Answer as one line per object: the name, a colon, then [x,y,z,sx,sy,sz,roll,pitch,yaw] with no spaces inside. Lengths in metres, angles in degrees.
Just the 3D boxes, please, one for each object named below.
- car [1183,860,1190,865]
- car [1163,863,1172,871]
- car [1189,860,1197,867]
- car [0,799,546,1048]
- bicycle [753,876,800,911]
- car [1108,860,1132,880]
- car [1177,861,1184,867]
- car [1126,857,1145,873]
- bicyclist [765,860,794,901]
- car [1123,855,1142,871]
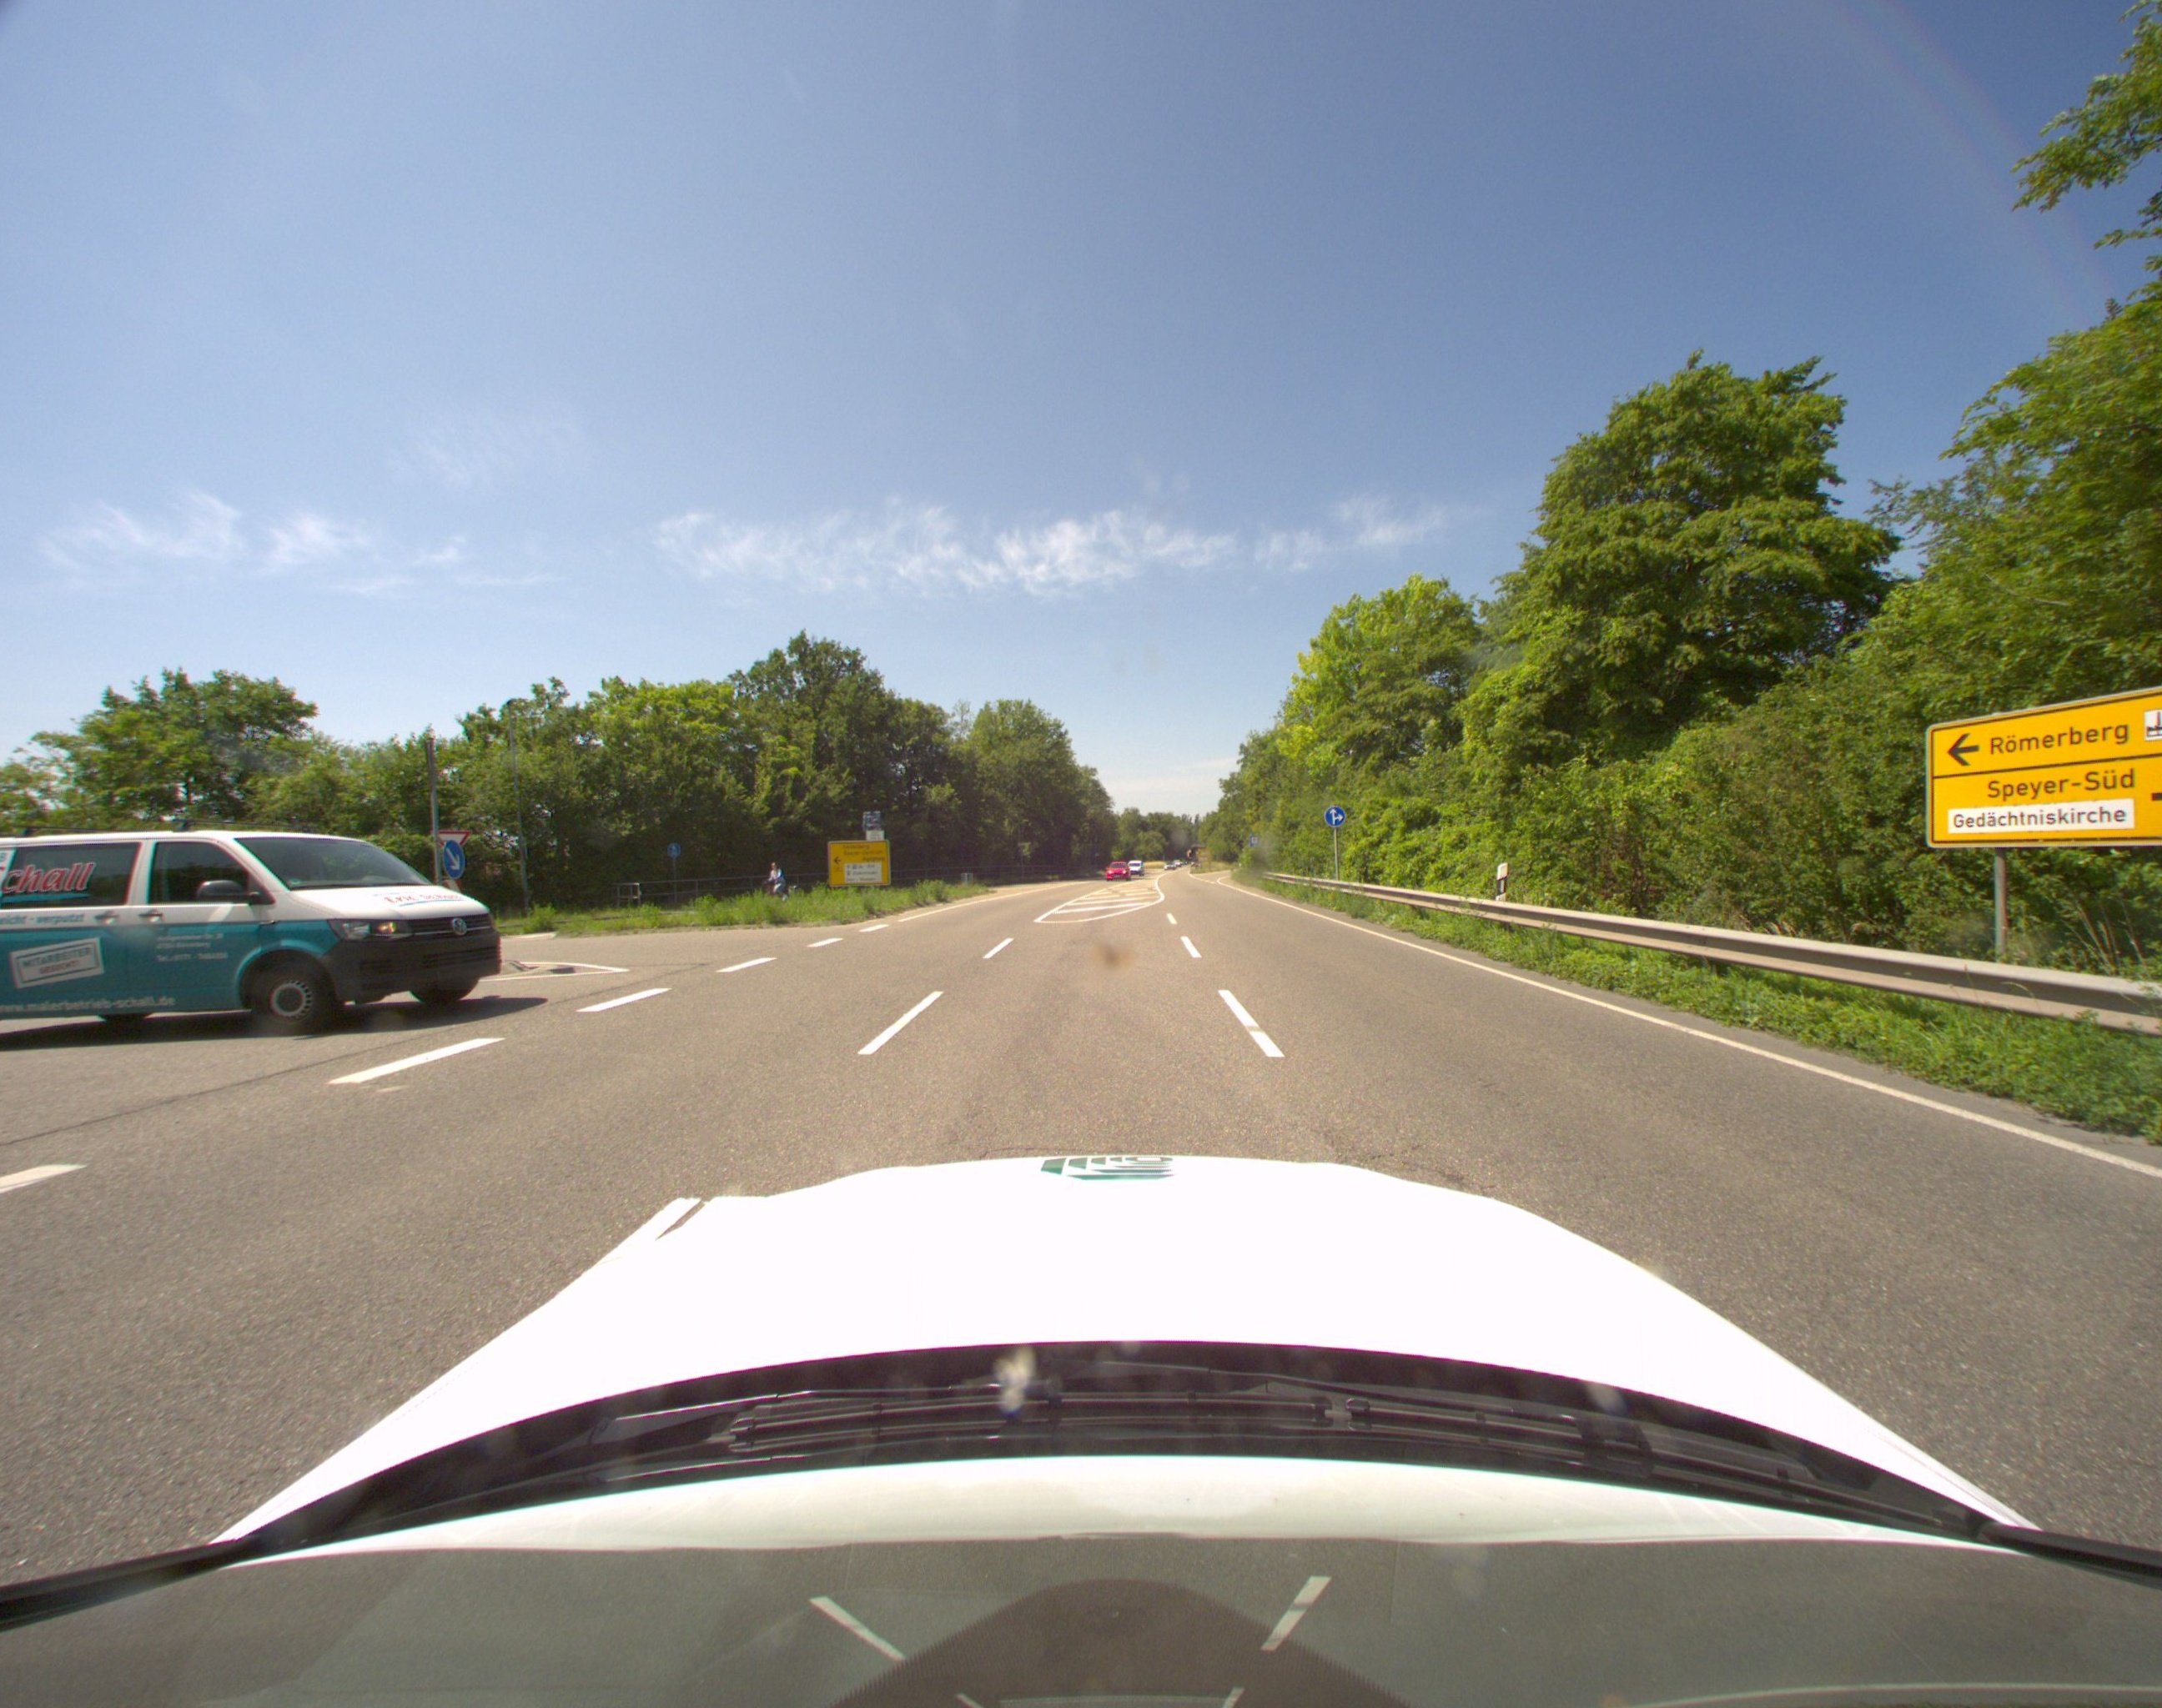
car: [31.300,2.437,241.995,1.709,1.509,3.719,-2,0,10]
car: [17.316,2.535,162.802,1.668,1.527,4.008,-2,0,7]
car: [28.541,2.314,206.984,1.834,1.684,4.007,-1,0,6]
car: [-8.724,0.660,8.245,5.155,2.027,1.999,-3,0,-1]
bicycle: [-10.247,1.314,27.429,0.431,1.113,1.491,-2,-1,33]
car: [3.013,1.248,63.115,1.803,1.458,3.759,-1,0,2]
car: [24.746,2.477,202.533,1.710,1.528,3.718,-2,0,9]
car: [6.463,1.262,96.126,1.984,1.730,4.281,-2,0,6]
bicyclist: [-10.194,0.895,27.523,0.681,1.363,0.613,-2,-1,33]
car: [11.171,1.972,178.417,2.004,3.226,4.767,-1,0,-26]
